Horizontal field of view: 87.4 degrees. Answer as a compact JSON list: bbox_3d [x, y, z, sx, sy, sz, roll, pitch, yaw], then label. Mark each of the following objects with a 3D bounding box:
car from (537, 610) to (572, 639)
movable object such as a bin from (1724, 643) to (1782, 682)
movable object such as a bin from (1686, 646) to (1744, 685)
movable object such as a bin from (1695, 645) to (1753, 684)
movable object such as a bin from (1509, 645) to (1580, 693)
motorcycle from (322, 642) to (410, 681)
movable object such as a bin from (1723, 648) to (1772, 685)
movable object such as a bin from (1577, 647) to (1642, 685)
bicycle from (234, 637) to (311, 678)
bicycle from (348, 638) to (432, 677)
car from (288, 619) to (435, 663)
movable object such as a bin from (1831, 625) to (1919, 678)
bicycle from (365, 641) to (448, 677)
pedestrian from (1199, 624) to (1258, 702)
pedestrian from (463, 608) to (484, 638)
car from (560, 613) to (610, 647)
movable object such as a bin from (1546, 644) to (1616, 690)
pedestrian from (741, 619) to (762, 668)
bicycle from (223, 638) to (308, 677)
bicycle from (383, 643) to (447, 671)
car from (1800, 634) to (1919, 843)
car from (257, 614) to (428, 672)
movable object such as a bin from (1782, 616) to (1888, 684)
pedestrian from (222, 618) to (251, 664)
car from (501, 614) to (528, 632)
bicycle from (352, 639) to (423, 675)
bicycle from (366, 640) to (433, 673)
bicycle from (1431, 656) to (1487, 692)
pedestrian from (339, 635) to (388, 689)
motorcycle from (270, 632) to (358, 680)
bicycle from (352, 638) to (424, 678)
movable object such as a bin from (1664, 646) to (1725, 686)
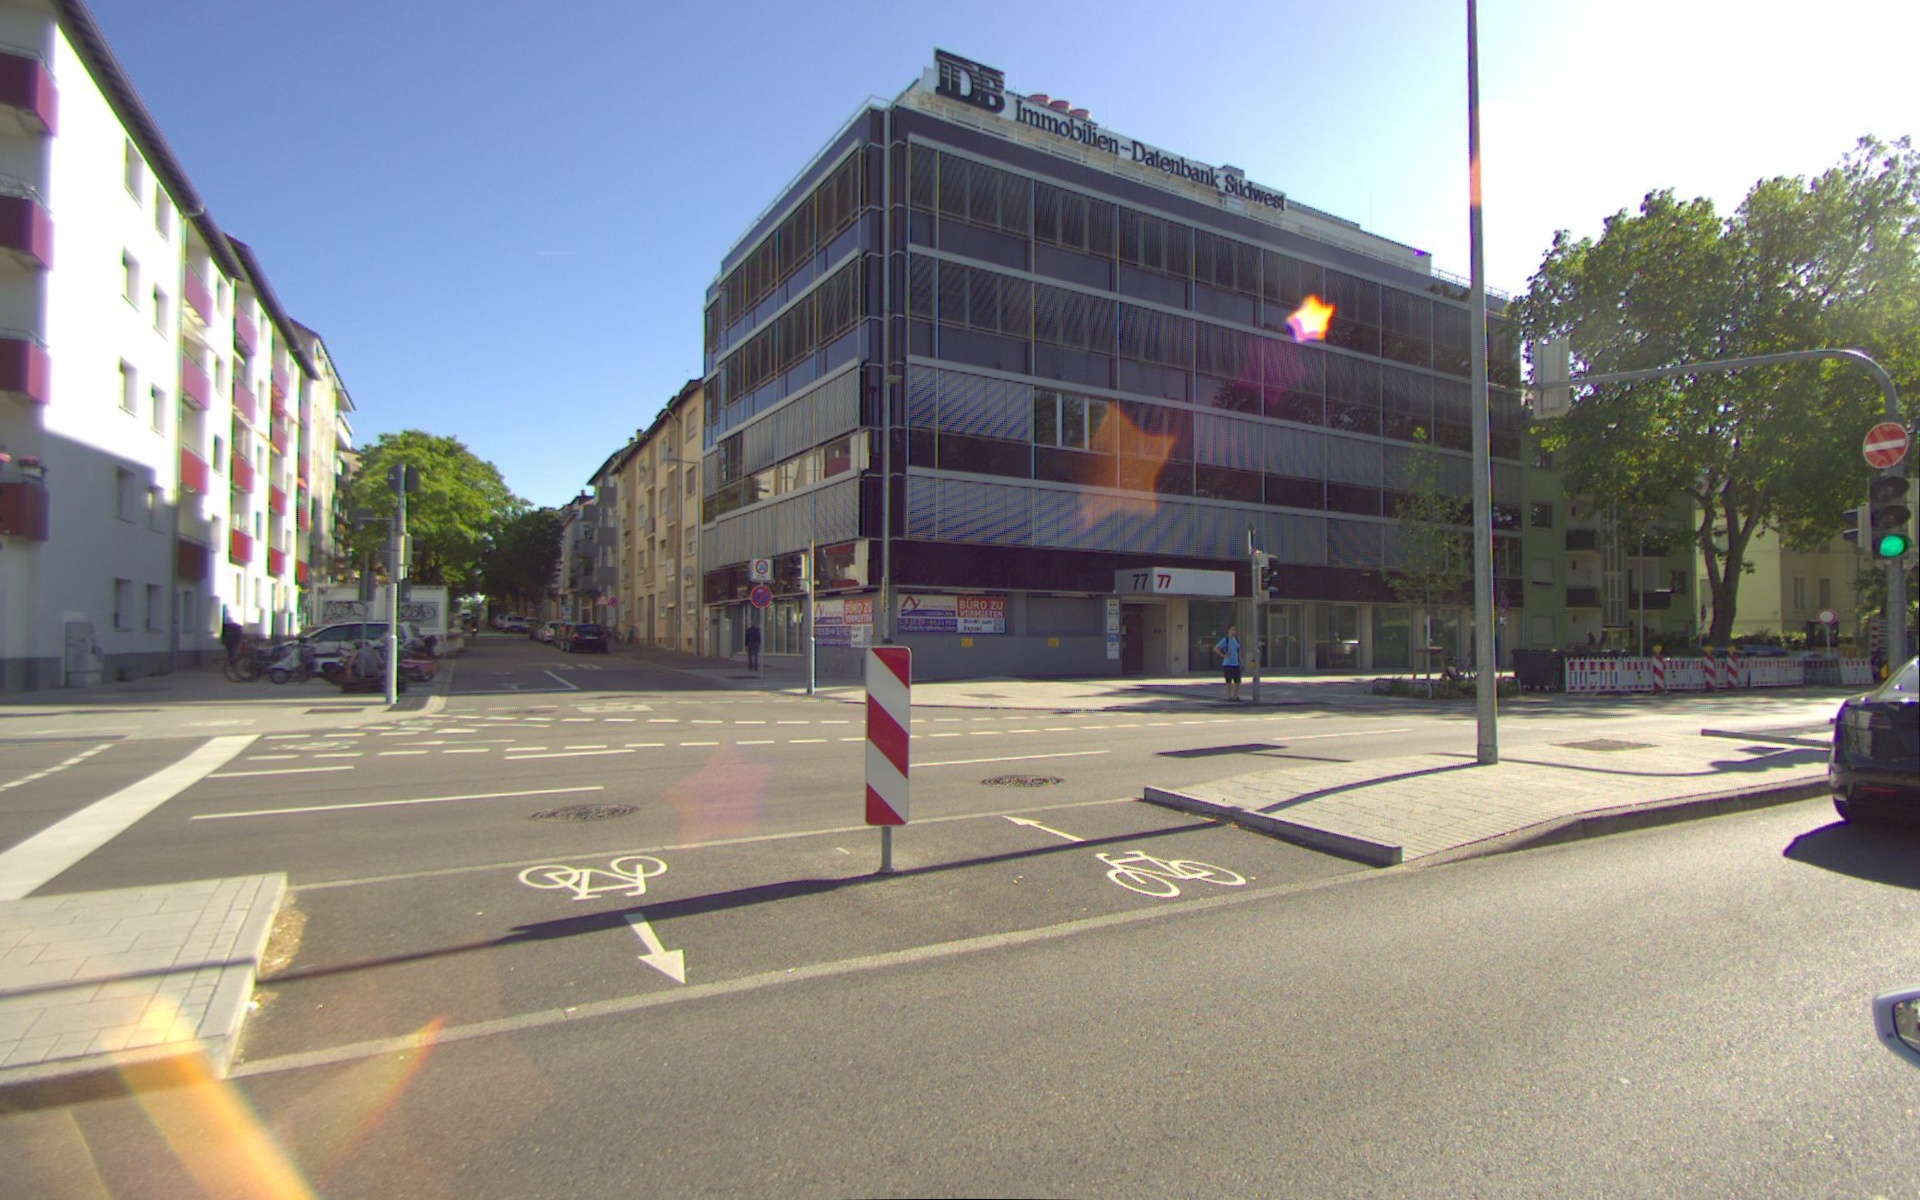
[{"bbox_3d":[-26.108,1.542,64.665,1.972,1.796,3.977,1,-1,-23],"label":"car"},{"bbox_3d":[30.348,2.374,38.469,1.608,1.441,1.259,-1,-2,34],"label":"movable object such as a bin"},{"bbox_3d":[27.034,2.337,35.992,0.924,1.355,1.404,1,-2,-28],"label":"movable object such as a bin"},{"bbox_3d":[27.848,2.347,36.626,1.056,1.355,1.404,1,-2,-29],"label":"movable object such as a bin"},{"bbox_3d":[18.026,2.117,30.980,1.833,1.406,1.109,1,-2,-29],"label":"movable object such as a bin"},{"bbox_3d":[-14.784,1.522,25.054,1.816,0.948,0.501,1,-1,-24],"label":"motorcycle"},{"bbox_3d":[29.071,2.434,37.079,1.523,1.287,0.975,1,-2,-31],"label":"movable object such as a bin"},{"bbox_3d":[21.429,2.159,33.139,1.226,1.219,1.389,1,-2,-28],"label":"movable object such as a bin"},{"bbox_3d":[-18.888,1.572,27.641,1.668,1.072,0.572,1,-1,-27],"label":"bicycle"},{"bbox_3d":[-15.157,1.525,26.744,1.853,0.991,0.507,1,-1,-15],"label":"bicycle"},{"bbox_3d":[-21.812,1.489,36.840,4.518,1.549,1.752,1,-2,-29],"label":"car"},{"bbox_3d":[42.471,2.350,46.089,5.530,2.308,1.985,2,-3,-29],"label":"movable object such as a bin"},{"bbox_3d":[-15.095,1.606,27.437,1.923,0.960,0.476,1,-2,-23],"label":"bicycle"},{"bbox_3d":[6.162,1.433,23.088,0.998,1.733,0.863,1,-2,-24],"label":"pedestrian"},{"bbox_3d":[-32.918,1.564,67.990,1.137,2.040,1.443,1,-2,-32],"label":"pedestrian"},{"bbox_3d":[-18.864,1.492,50.461,1.974,1.623,3.974,1,-2,-26],"label":"car"},{"bbox_3d":[19.946,2.140,32.272,1.833,1.406,1.209,1,-2,-29],"label":"movable object such as a bin"},{"bbox_3d":[-7.144,1.481,34.434,0.688,1.679,0.745,0,-1,-11],"label":"pedestrian"},{"bbox_3d":[-17.961,1.482,26.024,1.714,0.982,0.572,1,-1,-27],"label":"bicycle"},{"bbox_3d":[-16.758,1.742,30.930,0.408,0.825,1.718,-1,-2,35],"label":"bicycle"},{"bbox_3d":[8.677,0.990,7.877,4.575,1.430,1.915,1,-2,-32],"label":"car"},{"bbox_3d":[-19.631,1.372,32.200,4.418,1.754,1.988,1,-2,-25],"label":"car"},{"bbox_3d":[37.322,2.087,42.797,5.300,2.742,2.133,2,-2,-34],"label":"movable object such as a bin"},{"bbox_3d":[-24.272,1.361,33.709,0.686,1.516,0.597,1,-2,-28],"label":"pedestrian"},{"bbox_3d":[-44.086,2.270,99.293,1.977,1.742,3.966,1,0,-31],"label":"car"},{"bbox_3d":[-16.467,1.629,28.919,1.714,1.017,0.507,1,-1,-27],"label":"bicycle"},{"bbox_3d":[-16.605,1.672,29.805,1.703,0.960,0.456,1,-2,-29],"label":"bicycle"},{"bbox_3d":[15.268,2.254,30.734,1.857,1.051,0.624,1,-2,-30],"label":"bicycle"},{"bbox_3d":[-13.368,1.372,22.518,0.783,1.168,0.710,2,-2,-43],"label":"pedestrian"},{"bbox_3d":[-16.308,1.405,25.392,1.757,1.157,0.610,1,-1,-22],"label":"motorcycle"},{"bbox_3d":[-15.929,1.598,27.998,1.715,1.082,0.486,1,-2,-29],"label":"bicycle"},{"bbox_3d":[26.024,2.327,35.594,1.142,1.355,1.404,1,-2,-29],"label":"movable object such as a bin"}]
